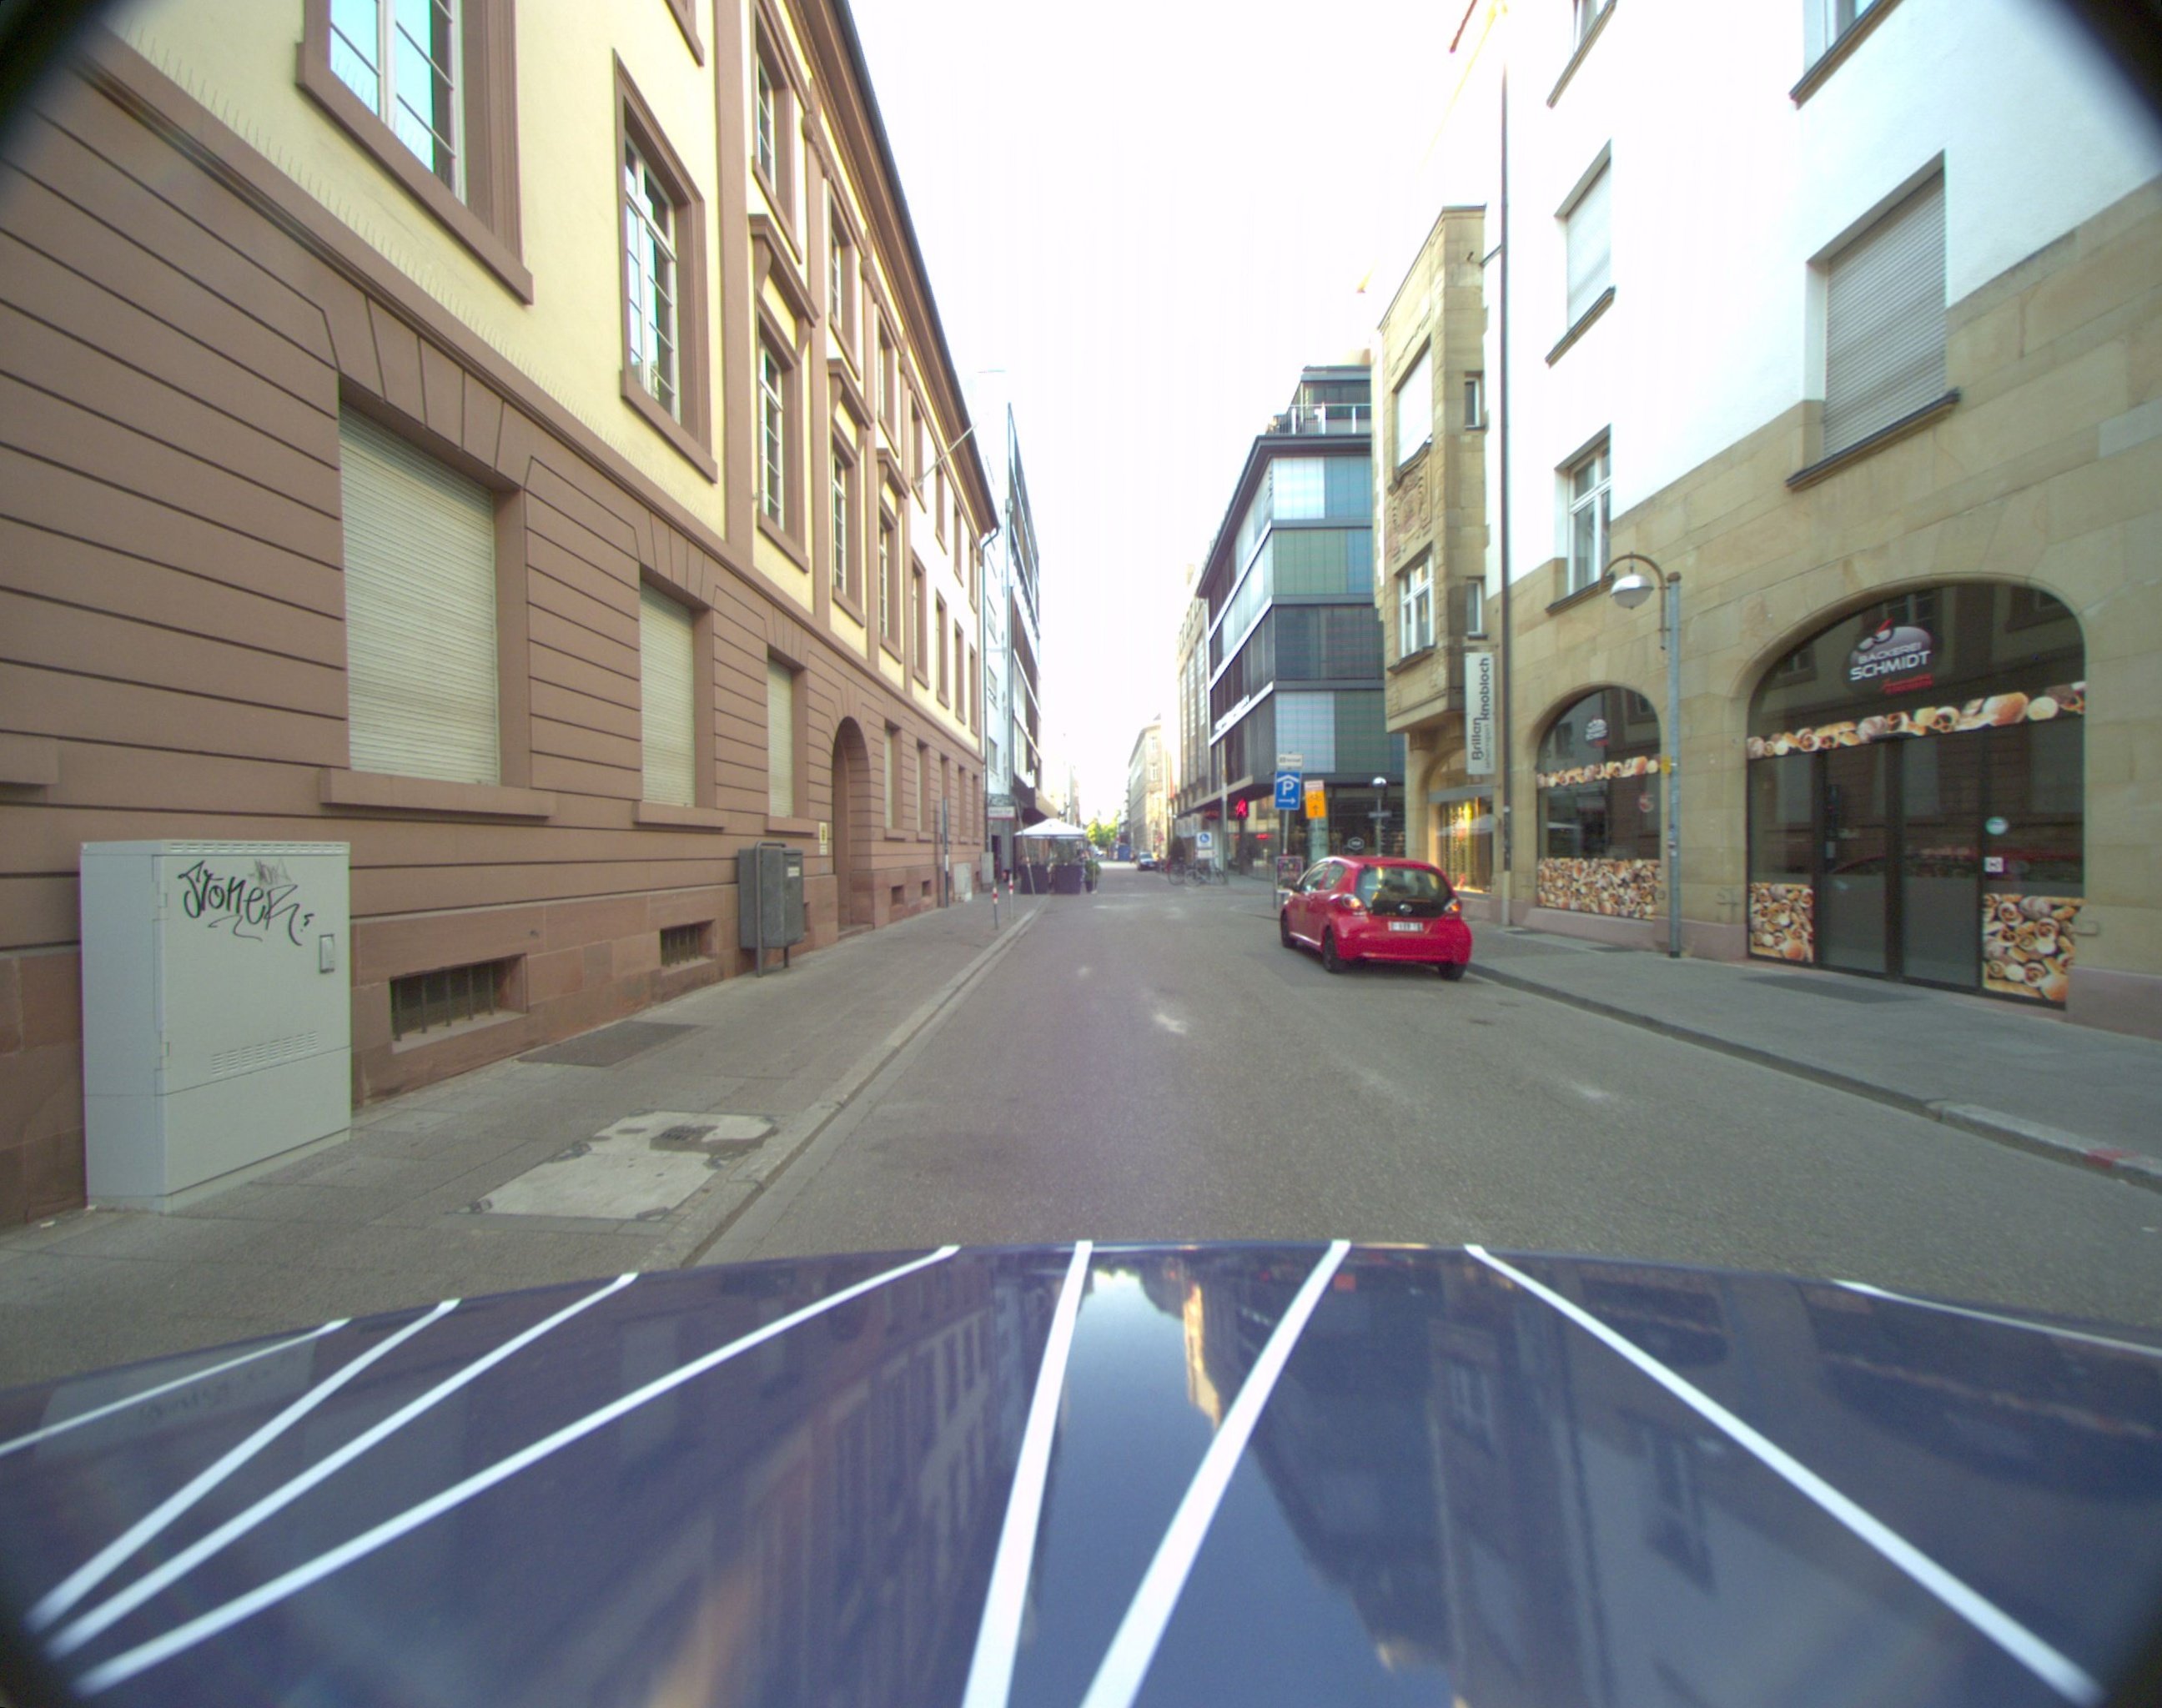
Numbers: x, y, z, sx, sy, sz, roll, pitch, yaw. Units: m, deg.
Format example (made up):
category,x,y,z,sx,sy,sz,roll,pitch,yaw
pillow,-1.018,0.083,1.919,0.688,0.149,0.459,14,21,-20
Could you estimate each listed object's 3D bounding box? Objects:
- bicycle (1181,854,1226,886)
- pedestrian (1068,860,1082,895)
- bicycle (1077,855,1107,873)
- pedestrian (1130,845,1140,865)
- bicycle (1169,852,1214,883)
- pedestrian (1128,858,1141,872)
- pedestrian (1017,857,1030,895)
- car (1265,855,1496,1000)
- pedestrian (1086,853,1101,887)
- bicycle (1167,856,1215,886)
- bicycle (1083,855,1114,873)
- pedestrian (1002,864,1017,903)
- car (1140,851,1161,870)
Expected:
category,x,y,z,sx,sy,sz,roll,pitch,yaw
bicycle,4.948,0.649,30.705,1.669,1.197,0.509,-3,1,1
pedestrian,-0.206,0.800,26.383,0.400,1.206,0.383,-1,1,-8
bicycle,0.779,0.675,53.041,2.038,1.161,0.619,2,1,0
pedestrian,5.635,0.089,79.377,0.804,2.002,0.878,-1,1,-6
bicycle,5.091,0.611,34.928,1.902,1.262,0.538,-5,1,2
pedestrian,5.816,1.213,82.875,0.917,1.563,0.995,0,1,45
pedestrian,-1.993,0.742,26.278,0.363,1.298,0.494,-1,1,-13
car,3.822,0.826,10.461,1.661,1.461,3.932,3,1,2
pedestrian,0.506,0.650,31.408,0.575,1.412,0.868,-1,1,2
bicycle,4.639,0.713,32.182,1.902,1.174,0.517,-3,-1,0
bicycle,1.183,0.659,51.218,2.038,1.161,0.665,2,1,0
pedestrian,-3.317,1.360,35.161,0.640,1.762,0.602,-1,1,-4
car,5.424,0.495,59.363,1.602,1.415,3.605,-1,0,5
